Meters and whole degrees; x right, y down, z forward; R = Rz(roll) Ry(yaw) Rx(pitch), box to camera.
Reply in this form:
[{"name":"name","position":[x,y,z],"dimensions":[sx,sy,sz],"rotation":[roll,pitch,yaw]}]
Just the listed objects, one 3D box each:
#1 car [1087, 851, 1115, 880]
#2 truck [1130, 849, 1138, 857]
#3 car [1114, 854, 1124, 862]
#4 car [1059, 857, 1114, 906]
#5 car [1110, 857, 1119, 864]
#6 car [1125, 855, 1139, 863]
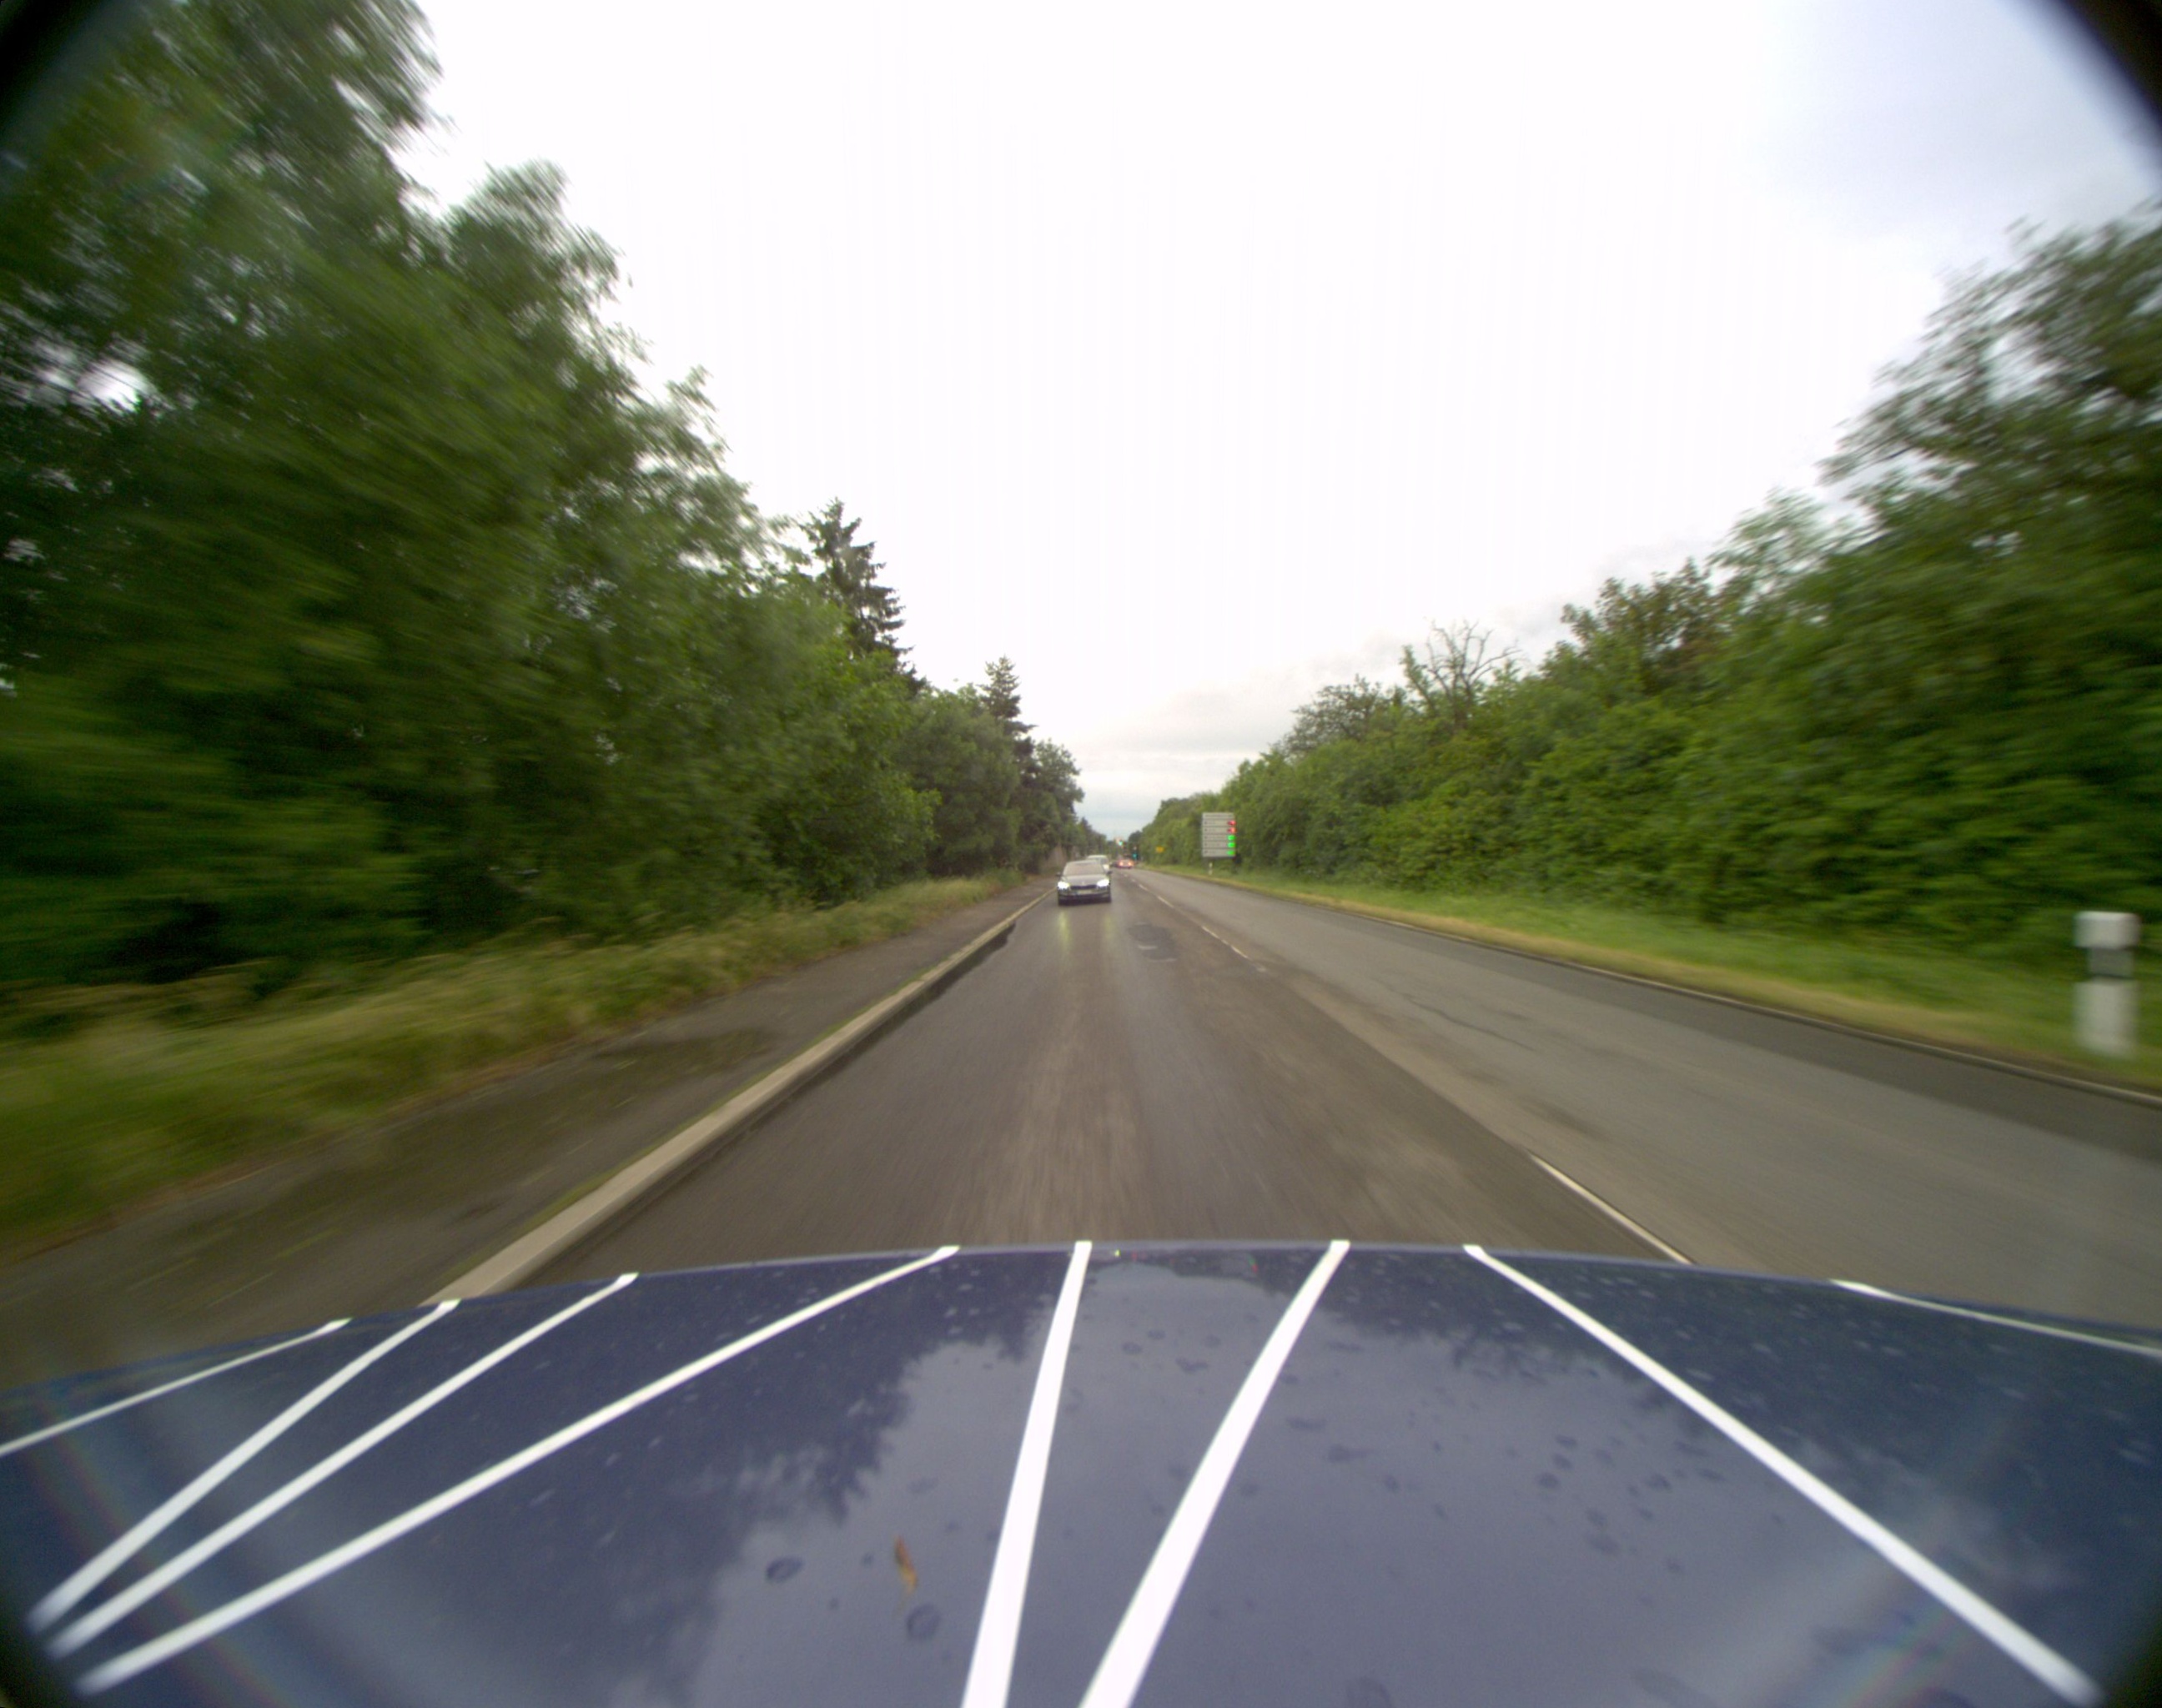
[{"name":"car","position":[1.251,0.672,48.498],"dimensions":[1.704,1.724,4.000],"rotation":[-1,1,0]},{"name":"truck","position":[17.943,-0.234,256.769],"dimensions":[2.479,2.494,5.640],"rotation":[1,0,6]},{"name":"car","position":[7.027,0.734,140.337],"dimensions":[1.830,1.411,4.320],"rotation":[0,0,2]},{"name":"car","position":[0.236,0.909,26.482],"dimensions":[1.675,1.477,4.215],"rotation":[-3,0,1]},{"name":"car","position":[7.830,1.438,177.039],"dimensions":[1.737,1.584,4.282],"rotation":[1,0,0]},{"name":"car","position":[8.076,0.783,121.001],"dimensions":[1.895,1.346,4.382],"rotation":[-1,0,1]}]
